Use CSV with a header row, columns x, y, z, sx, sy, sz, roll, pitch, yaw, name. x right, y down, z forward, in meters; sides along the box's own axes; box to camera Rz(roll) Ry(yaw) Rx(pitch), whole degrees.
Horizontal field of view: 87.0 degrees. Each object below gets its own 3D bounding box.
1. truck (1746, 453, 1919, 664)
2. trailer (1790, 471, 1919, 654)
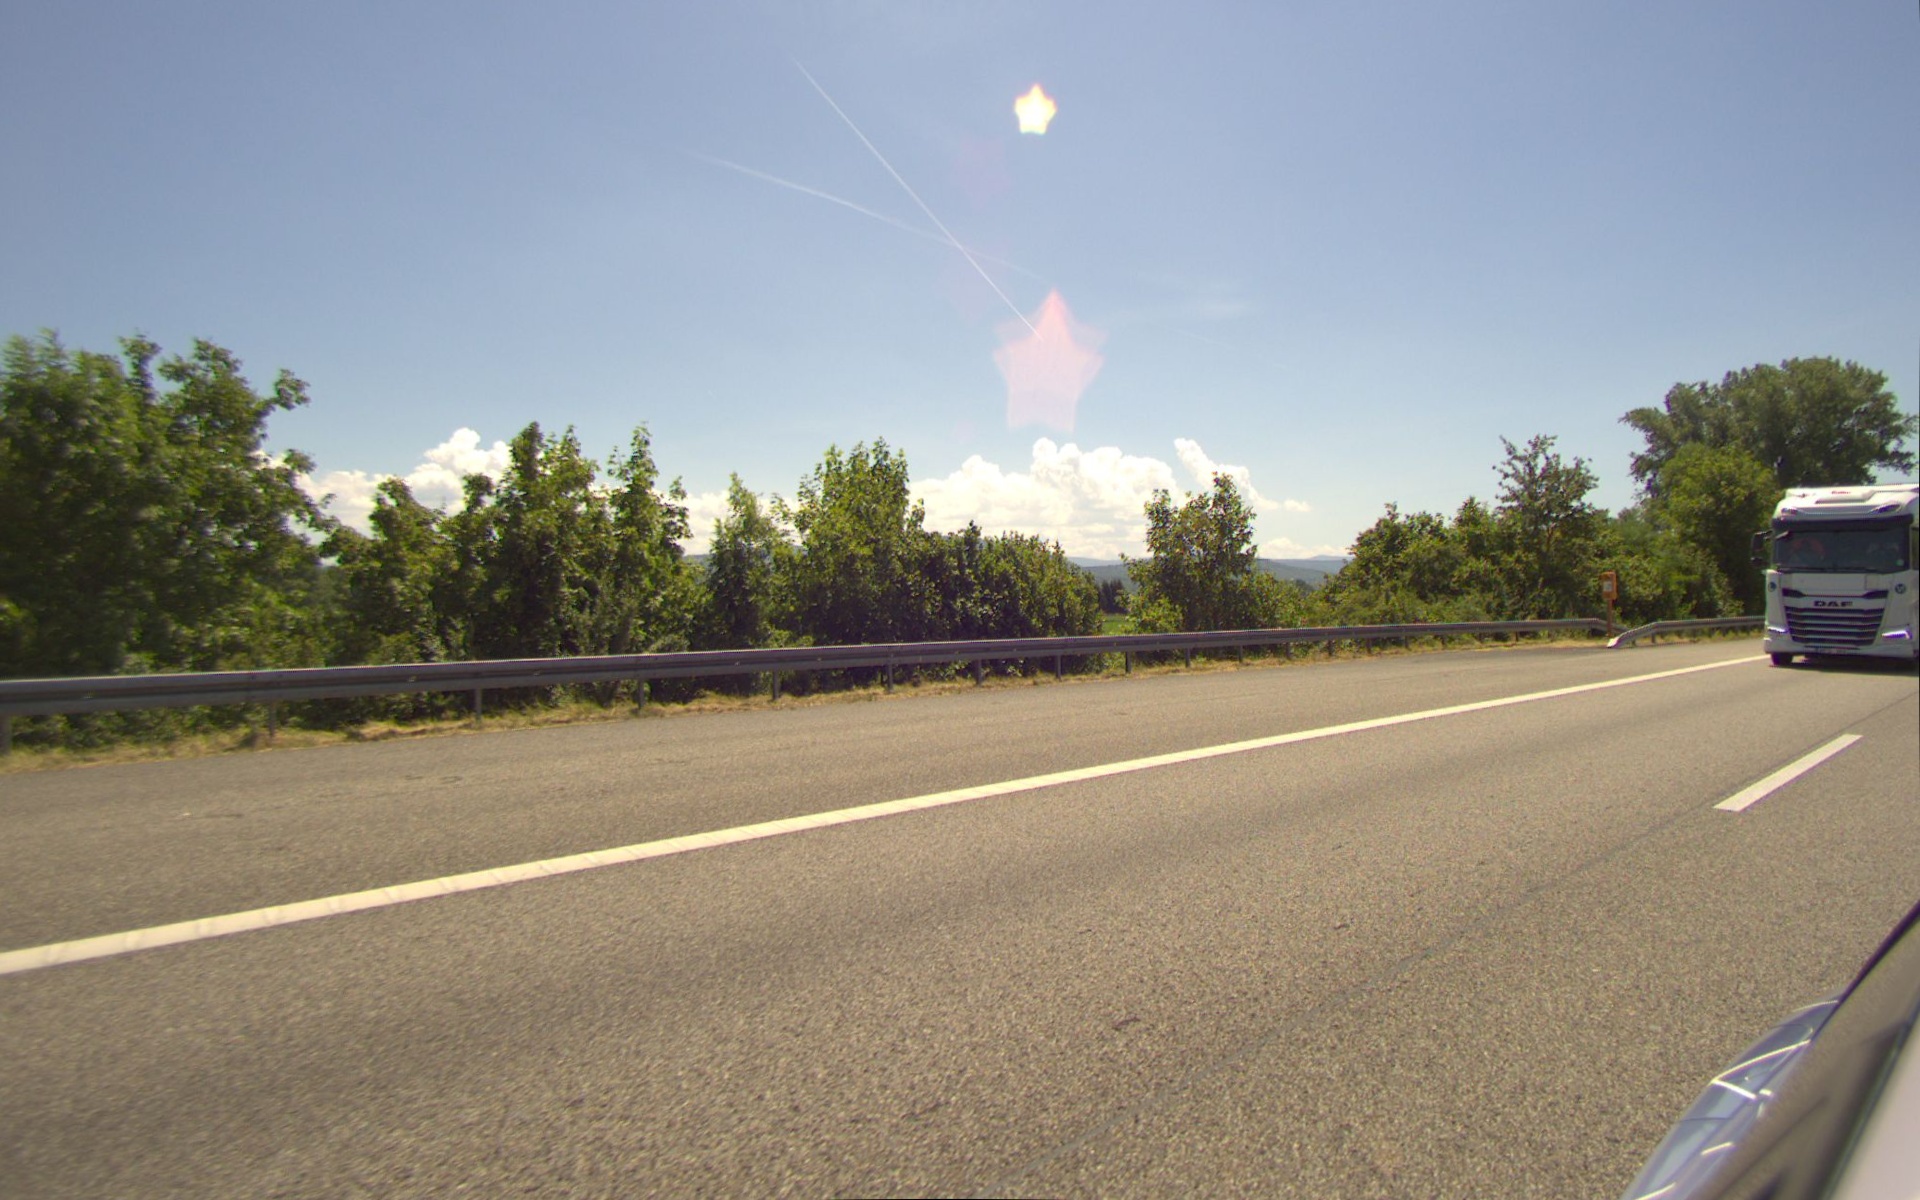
x,y,z,sx,sy,sz,roll,pitch,yaw,name
20.373,-0.841,22.867,6.098,4.158,2.965,0,0,-41,truck
25.979,-0.881,27.718,12.312,4.157,2.964,0,0,-41,trailer
